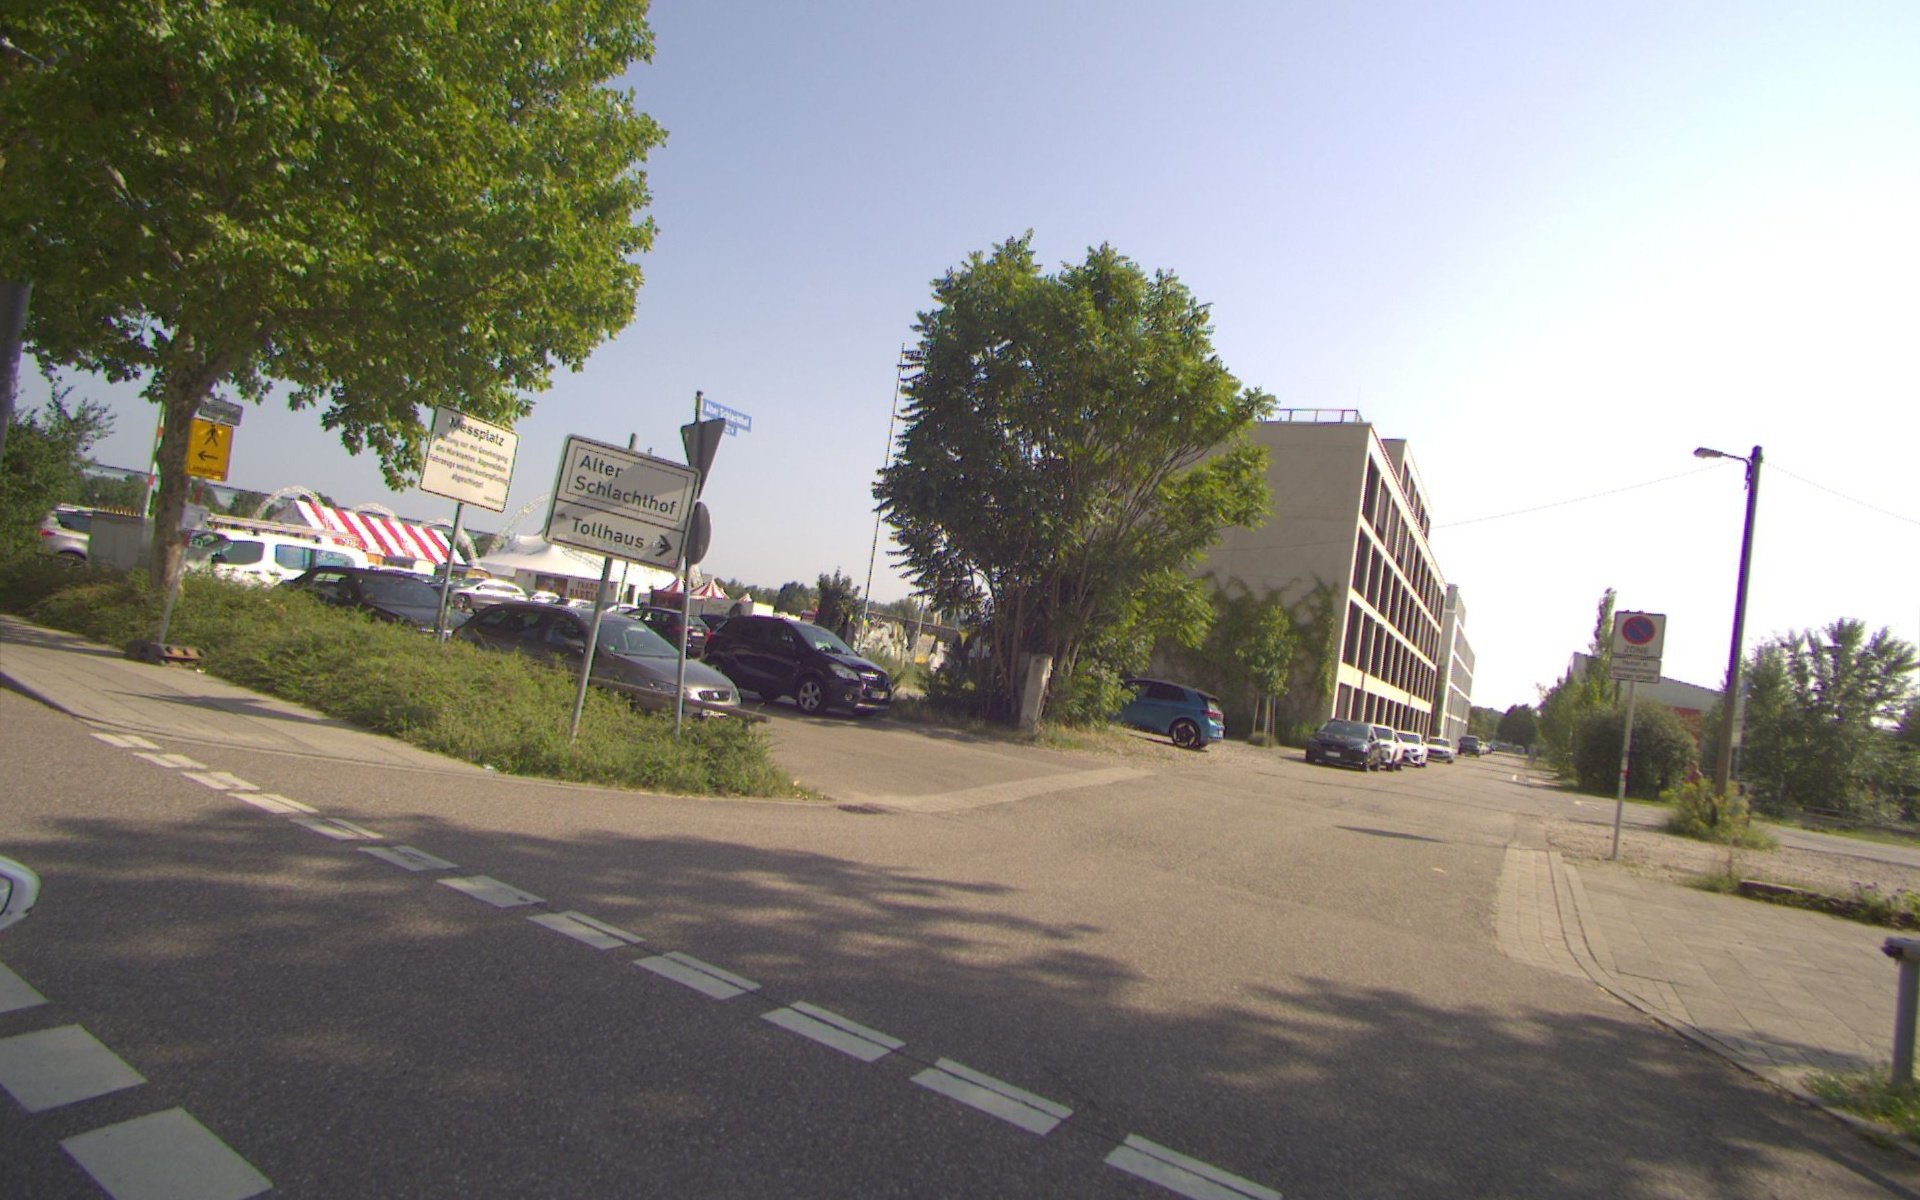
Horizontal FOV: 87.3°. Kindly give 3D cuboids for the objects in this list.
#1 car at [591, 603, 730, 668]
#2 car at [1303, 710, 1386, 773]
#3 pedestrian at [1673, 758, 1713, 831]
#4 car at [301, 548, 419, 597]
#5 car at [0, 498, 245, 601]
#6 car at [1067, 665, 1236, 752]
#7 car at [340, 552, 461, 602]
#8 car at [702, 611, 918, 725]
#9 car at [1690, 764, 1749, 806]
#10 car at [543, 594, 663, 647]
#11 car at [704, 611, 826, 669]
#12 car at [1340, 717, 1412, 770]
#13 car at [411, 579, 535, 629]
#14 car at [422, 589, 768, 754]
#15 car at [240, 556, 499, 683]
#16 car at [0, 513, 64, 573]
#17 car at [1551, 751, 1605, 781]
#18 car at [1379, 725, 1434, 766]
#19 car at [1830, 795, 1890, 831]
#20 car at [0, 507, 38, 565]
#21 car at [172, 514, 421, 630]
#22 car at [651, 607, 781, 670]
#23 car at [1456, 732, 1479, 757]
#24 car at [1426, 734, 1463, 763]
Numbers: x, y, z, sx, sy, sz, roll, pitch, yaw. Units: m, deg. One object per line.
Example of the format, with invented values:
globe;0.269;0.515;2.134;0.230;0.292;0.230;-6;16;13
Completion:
car;-9.481;1.109;31.796;4.047;1.411;1.819;7;-3;30
car;11.653;4.273;30.362;1.717;1.500;3.798;7;-4;29
pedestrian;17.429;4.611;23.929;0.511;1.597;0.501;7;-2;24
car;-28.469;-1.276;47.867;1.914;1.479;4.360;7;-4;28
car;-19.622;-1.128;23.655;1.966;1.603;4.000;7;-4;29
car;5.011;2.841;26.343;3.886;1.592;1.711;7;-3;25
car;-25.510;-1.002;46.008;1.914;1.479;4.360;7;-4;28
car;-2.888;1.283;19.177;3.732;1.593;1.611;7;-2;31
car;46.819;11.398;62.096;1.964;2.035;4.002;6;-3;25
car;-14.127;0.839;40.008;1.916;1.479;3.996;6;-4;34
car;-7.148;1.455;36.803;4.047;1.509;1.819;7;-3;30
car;14.484;4.990;34.906;1.678;1.460;3.796;7;-4;31
car;-21.194;0.216;43.954;1.916;1.479;4.401;6;-4;34
car;-4.900;0.886;13.305;4.474;1.465;1.732;7;-2;31
car;-9.563;0.293;16.231;4.048;1.465;1.732;7;-2;31
car;-30.243;-1.992;30.547;1.966;1.603;4.000;7;-3;29
car;46.096;12.387;74.984;3.966;1.737;1.981;9;-2;-36
car;19.588;6.392;44.067;1.678;1.460;3.796;7;-4;31
car;61.247;14.464;68.547;1.966;1.901;4.003;9;-4;29
car;-32.211;-2.356;31.761;1.966;1.742;4.000;7;-3;29
car;-14.630;-0.554;22.416;1.818;1.940;4.110;7;-2;33
car;-8.350;1.313;34.360;4.047;1.509;1.819;7;-3;30
car;49.711;14.180;98.471;1.677;2.072;3.797;7;-4;30
car;30.312;9.289;62.881;1.678;1.460;3.796;7;-4;31
